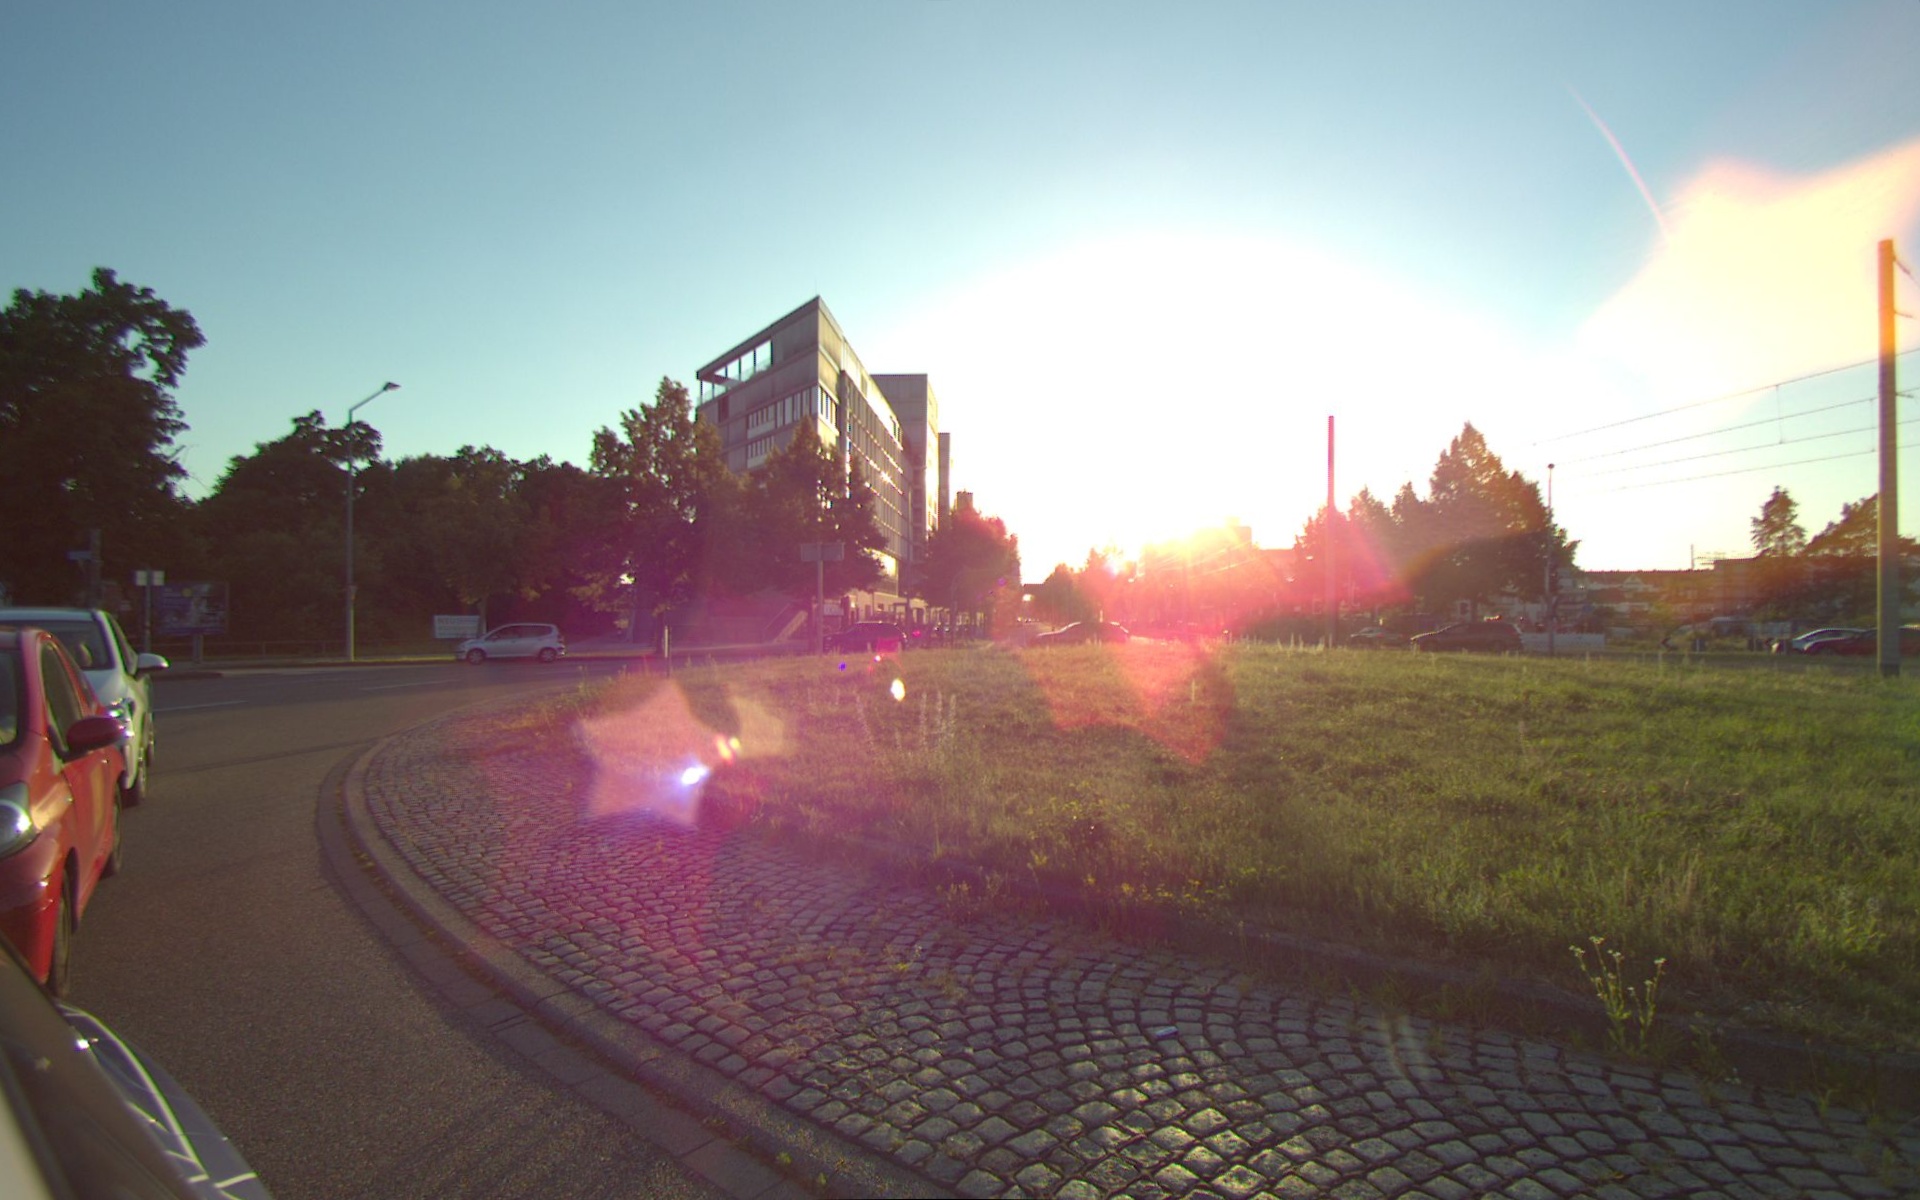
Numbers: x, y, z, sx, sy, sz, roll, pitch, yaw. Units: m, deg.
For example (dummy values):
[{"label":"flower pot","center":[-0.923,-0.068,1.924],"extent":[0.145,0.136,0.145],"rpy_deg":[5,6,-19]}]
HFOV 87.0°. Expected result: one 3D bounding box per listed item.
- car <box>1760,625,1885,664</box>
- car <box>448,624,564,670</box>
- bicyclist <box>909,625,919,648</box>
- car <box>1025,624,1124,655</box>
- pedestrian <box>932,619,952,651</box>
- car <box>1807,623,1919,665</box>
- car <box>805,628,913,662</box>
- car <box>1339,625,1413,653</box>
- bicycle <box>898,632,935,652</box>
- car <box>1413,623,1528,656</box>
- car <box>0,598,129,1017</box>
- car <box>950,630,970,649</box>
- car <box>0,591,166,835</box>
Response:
[{"label":"car","center":[37.704,1.909,44.388],"extent":[3.991,1.634,1.976],"rpy_deg":[-1,-1,36]},{"label":"car","center":[-16.957,1.716,37.789],"extent":[3.825,1.592,1.961],"rpy_deg":[0,-1,-27]},{"label":"bicyclist","center":[-2.887,2.281,63.227],"extent":[0.602,1.451,0.692],"rpy_deg":[0,-1,-1]},{"label":"car","center":[5.302,1.833,47.214],"extent":[4.287,1.386,2.002],"rpy_deg":[0,-1,-3]},{"label":"pedestrian","center":[-1.152,2.234,64.850],"extent":[0.995,2.029,0.768],"rpy_deg":[-1,0,29]},{"label":"car","center":[32.899,1.528,35.496],"extent":[1.864,1.402,4.509],"rpy_deg":[1,-1,-33]},{"label":"car","center":[-4.431,1.932,44.212],"extent":[4.308,1.386,2.006],"rpy_deg":[0,-1,-23]},{"label":"car","center":[25.518,2.365,62.310],"extent":[1.967,1.591,4.497],"rpy_deg":[0,-1,-13]},{"label":"bicycle","center":[-2.707,2.605,63.204],"extent":[2.315,1.254,0.742],"rpy_deg":[0,-1,0]},{"label":"car","center":[22.621,1.724,44.902],"extent":[4.371,1.386,1.977],"rpy_deg":[-1,-1,33]},{"label":"car","center":[-5.010,0.735,4.669],"extent":[1.662,1.431,4.008],"rpy_deg":[1,-1,-37]},{"label":"car","center":[0.000,4.426,113.455],"extent":[1.975,2.029,3.994],"rpy_deg":[0,-1,4]},{"label":"car","center":[-7.892,0.784,8.182],"extent":[1.970,1.618,4.202],"rpy_deg":[1,-2,-43]}]
